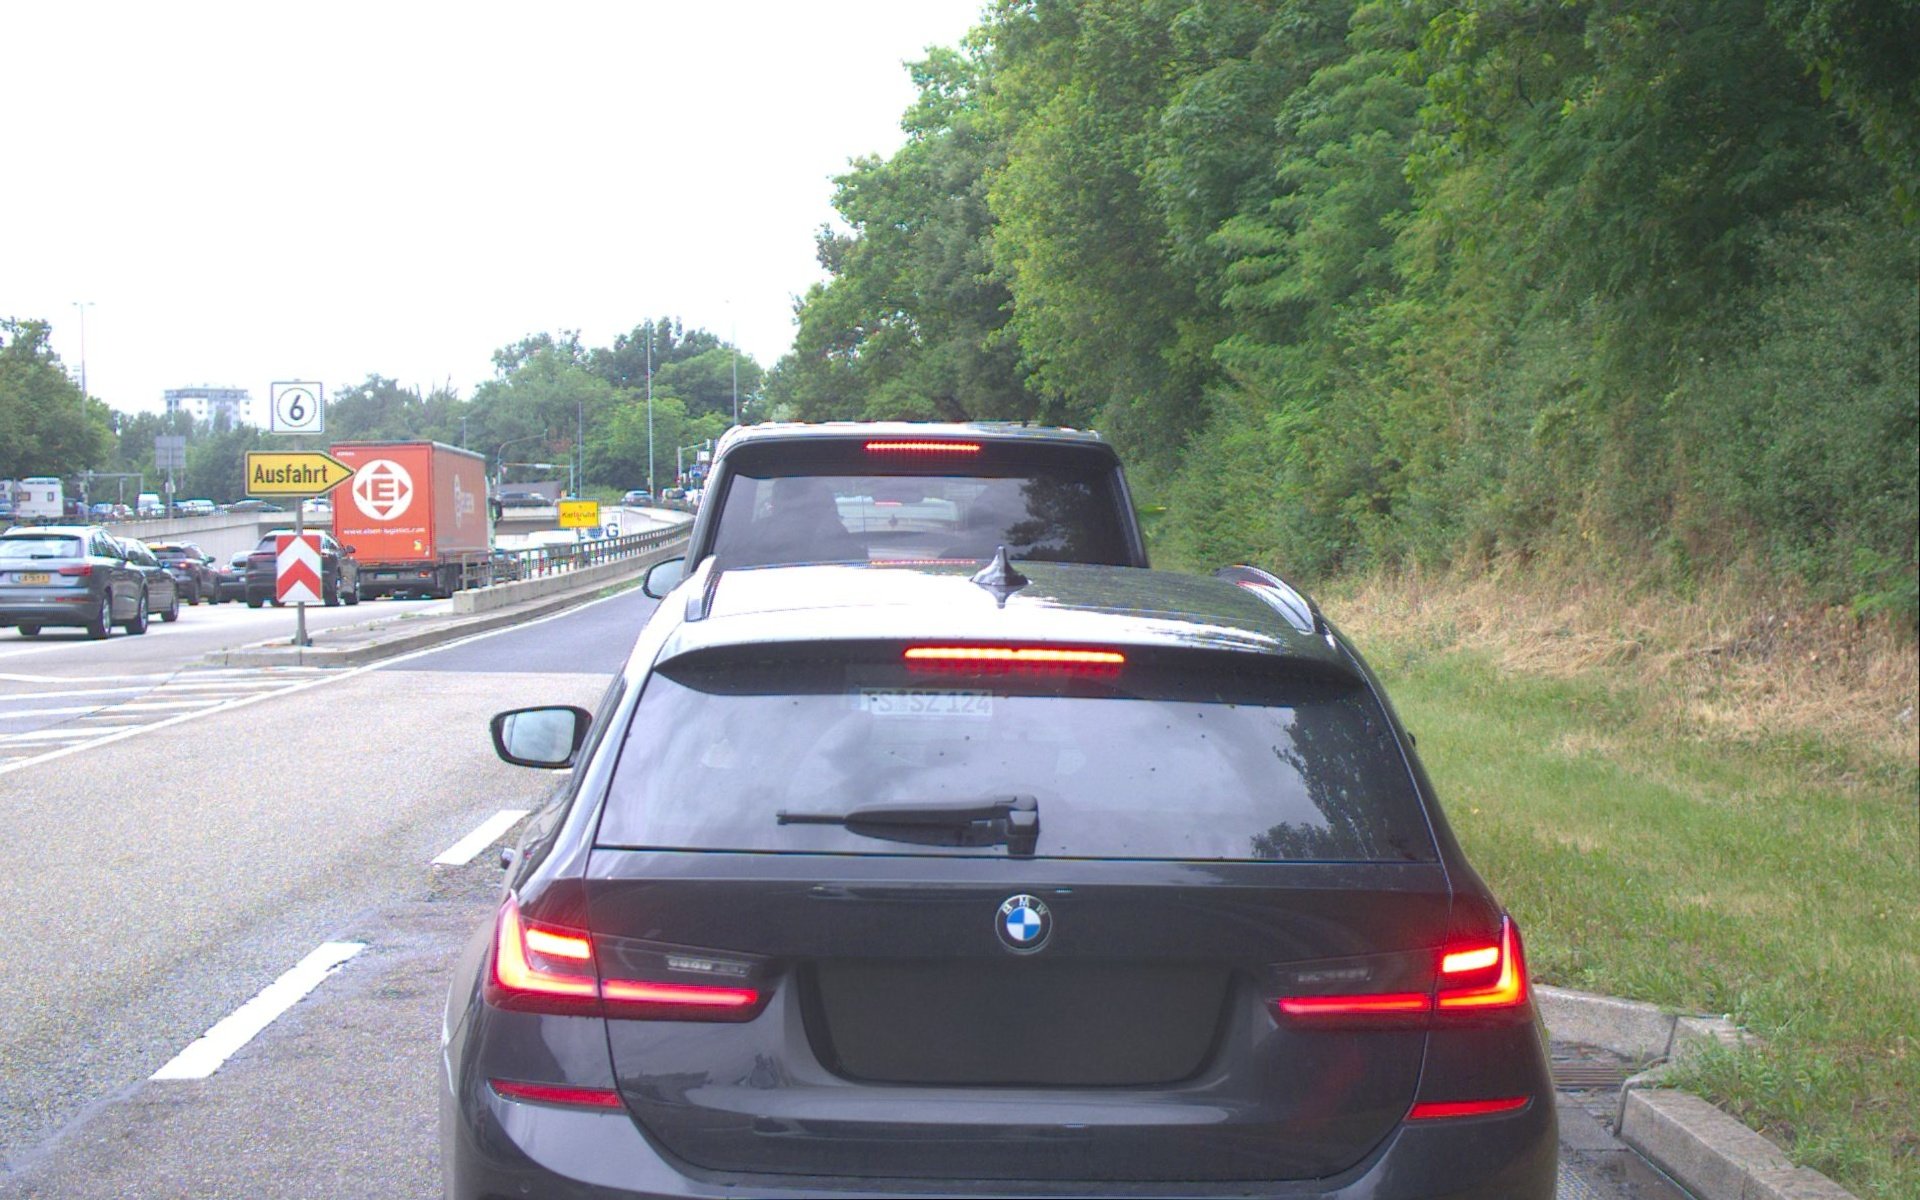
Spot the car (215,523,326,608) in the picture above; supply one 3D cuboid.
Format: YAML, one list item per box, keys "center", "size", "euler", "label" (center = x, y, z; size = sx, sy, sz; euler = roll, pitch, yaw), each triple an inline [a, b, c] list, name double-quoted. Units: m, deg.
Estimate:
- center: [-15.184, -0.760, 75.846]
  size: [1.860, 1.809, 4.001]
  euler: [1, 1, -4]
  label: "car"

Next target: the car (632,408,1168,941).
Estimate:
- center: [-0.244, 0.239, 13.887]
  size: [1.822, 1.815, 4.000]
  euler: [1, 1, -1]
  label: "car"

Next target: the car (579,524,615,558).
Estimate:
- center: [-17.021, -2.740, 161.290]
  size: [1.556, 1.547, 4.001]
  euler: [1, 1, -4]
  label: "car"

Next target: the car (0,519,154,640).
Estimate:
- center: [-12.662, -0.318, 48.613]
  size: [1.792, 1.634, 4.001]
  euler: [0, 1, -3]
  label: "car"

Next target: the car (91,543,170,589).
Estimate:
- center: [-30.463, -1.265, 126.374]
  size: [1.993, 1.602, 4.000]
  euler: [0, 1, -1]
  label: "car"

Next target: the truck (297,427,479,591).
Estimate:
- center: [-15.232, -2.439, 92.634]
  size: [3.489, 4.059, 13.594]
  euler: [-1, 1, -4]
  label: "truck"

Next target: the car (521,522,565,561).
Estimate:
- center: [-16.842, -2.356, 139.087]
  size: [1.556, 1.547, 4.001]
  euler: [1, 1, -4]
  label: "car"

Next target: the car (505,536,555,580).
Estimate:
- center: [-15.543, -1.521, 124.441]
  size: [1.556, 1.547, 3.819]
  euler: [1, 1, -4]
  label: "car"

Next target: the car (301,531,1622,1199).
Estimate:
- center: [-0.069, 0.622, 6.775]
  size: [1.825, 1.477, 4.001]
  euler: [-1, 1, -2]
  label: "car"

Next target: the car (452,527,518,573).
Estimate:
- center: [-15.569, -1.650, 112.706]
  size: [1.777, 1.477, 4.001]
  euler: [0, 1, -3]
  label: "car"

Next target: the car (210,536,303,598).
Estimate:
- center: [-19.089, -0.891, 93.395]
  size: [1.859, 1.612, 4.000]
  euler: [1, 1, -3]
  label: "car"
